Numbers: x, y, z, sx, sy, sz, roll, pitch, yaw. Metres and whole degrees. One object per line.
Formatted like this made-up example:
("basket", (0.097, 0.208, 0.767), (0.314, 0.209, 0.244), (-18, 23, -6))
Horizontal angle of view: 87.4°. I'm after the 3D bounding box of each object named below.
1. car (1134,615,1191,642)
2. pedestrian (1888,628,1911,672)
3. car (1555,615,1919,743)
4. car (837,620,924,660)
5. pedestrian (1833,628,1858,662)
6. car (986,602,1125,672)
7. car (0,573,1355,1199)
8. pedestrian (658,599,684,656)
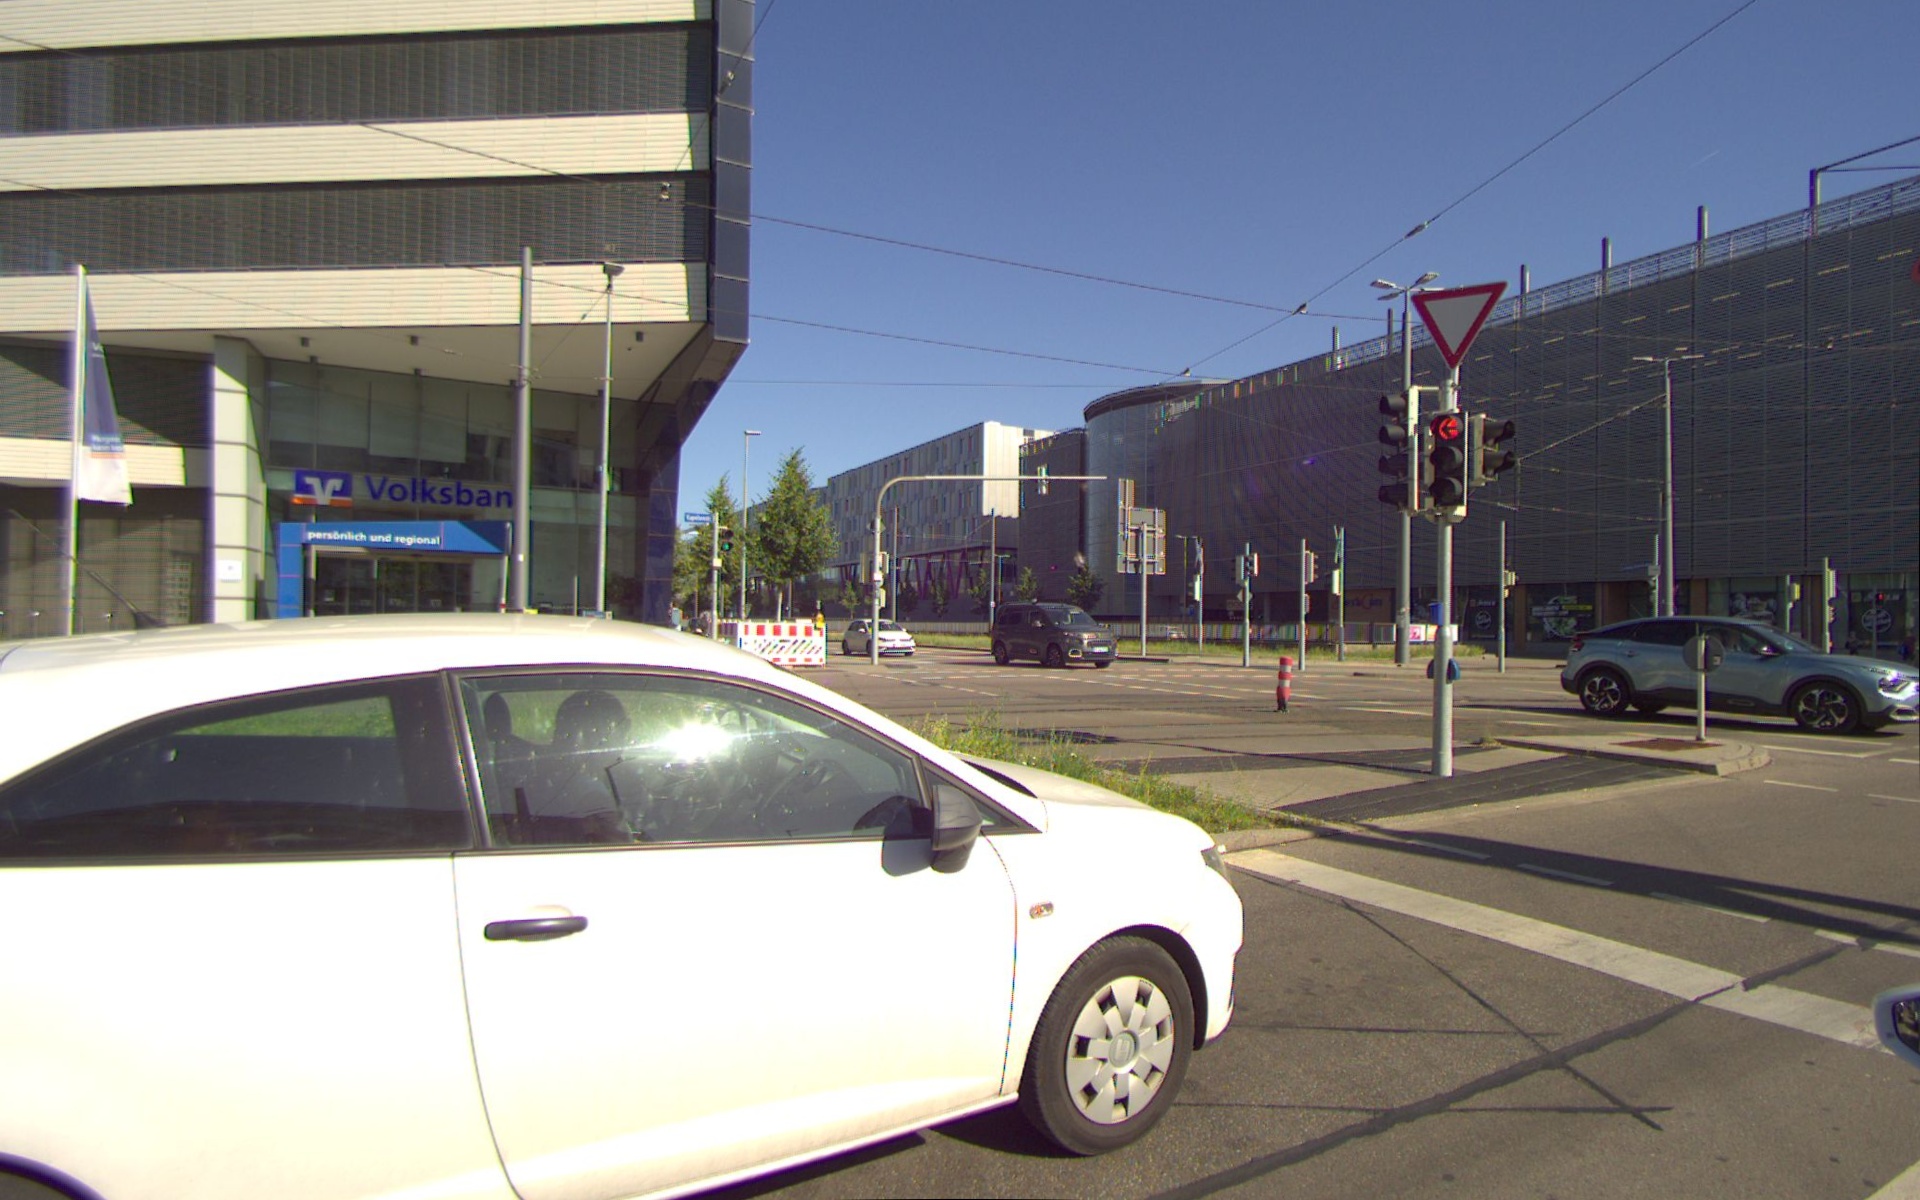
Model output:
("car", (15.512, 2.182, 77.147), (1.819, 1.666, 4.268), (2, 2, -30))
("pedestrian", (39.966, 2.124, 42.729), (0.687, 1.821, 0.726), (-2, -3, 44))
("car", (11.225, 1.006, 14.519), (1.691, 1.534, 4.239), (1, -1, -33))
("car", (-3.189, 1.532, 39.470), (1.842, 1.492, 4.265), (1, -1, -28))
("pedestrian", (43.812, 2.211, 49.713), (0.584, 1.622, 0.661), (2, 0, -11))
("car", (2.593, 0.986, 28.375), (1.688, 1.815, 4.439), (1, -1, -29))
("car", (-0.958, 0.740, 2.788), (3.977, 1.460, 1.723), (2, 1, -31))
("pedestrian", (-8.811, 0.838, 30.593), (0.729, 1.719, 0.805), (0, -2, -20))
